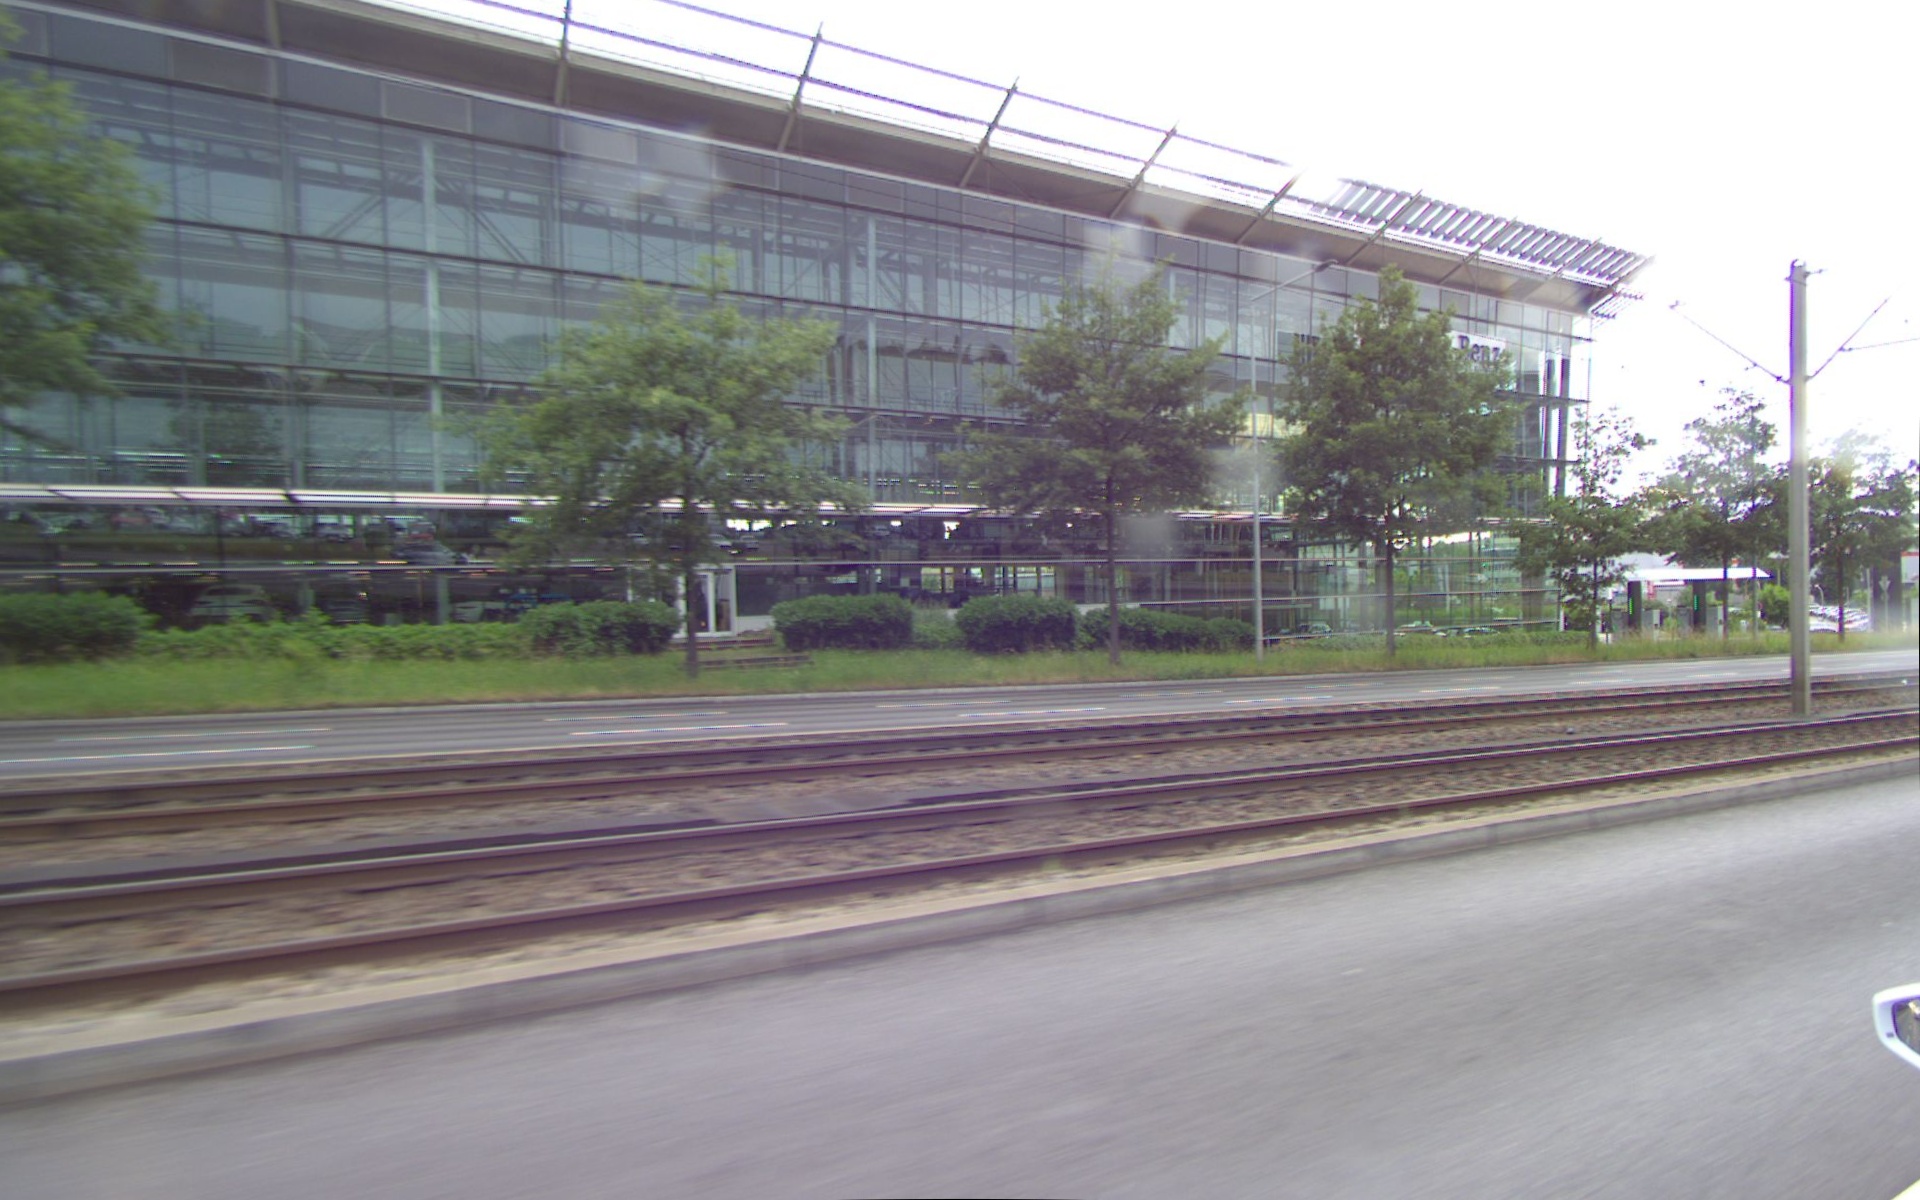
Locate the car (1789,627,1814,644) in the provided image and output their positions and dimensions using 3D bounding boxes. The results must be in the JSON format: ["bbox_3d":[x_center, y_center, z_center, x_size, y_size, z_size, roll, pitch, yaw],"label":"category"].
[{"bbox_3d":[84.769,3.555,101.212,1.730,1.514,3.982,2,0,39],"label":"car"}]
